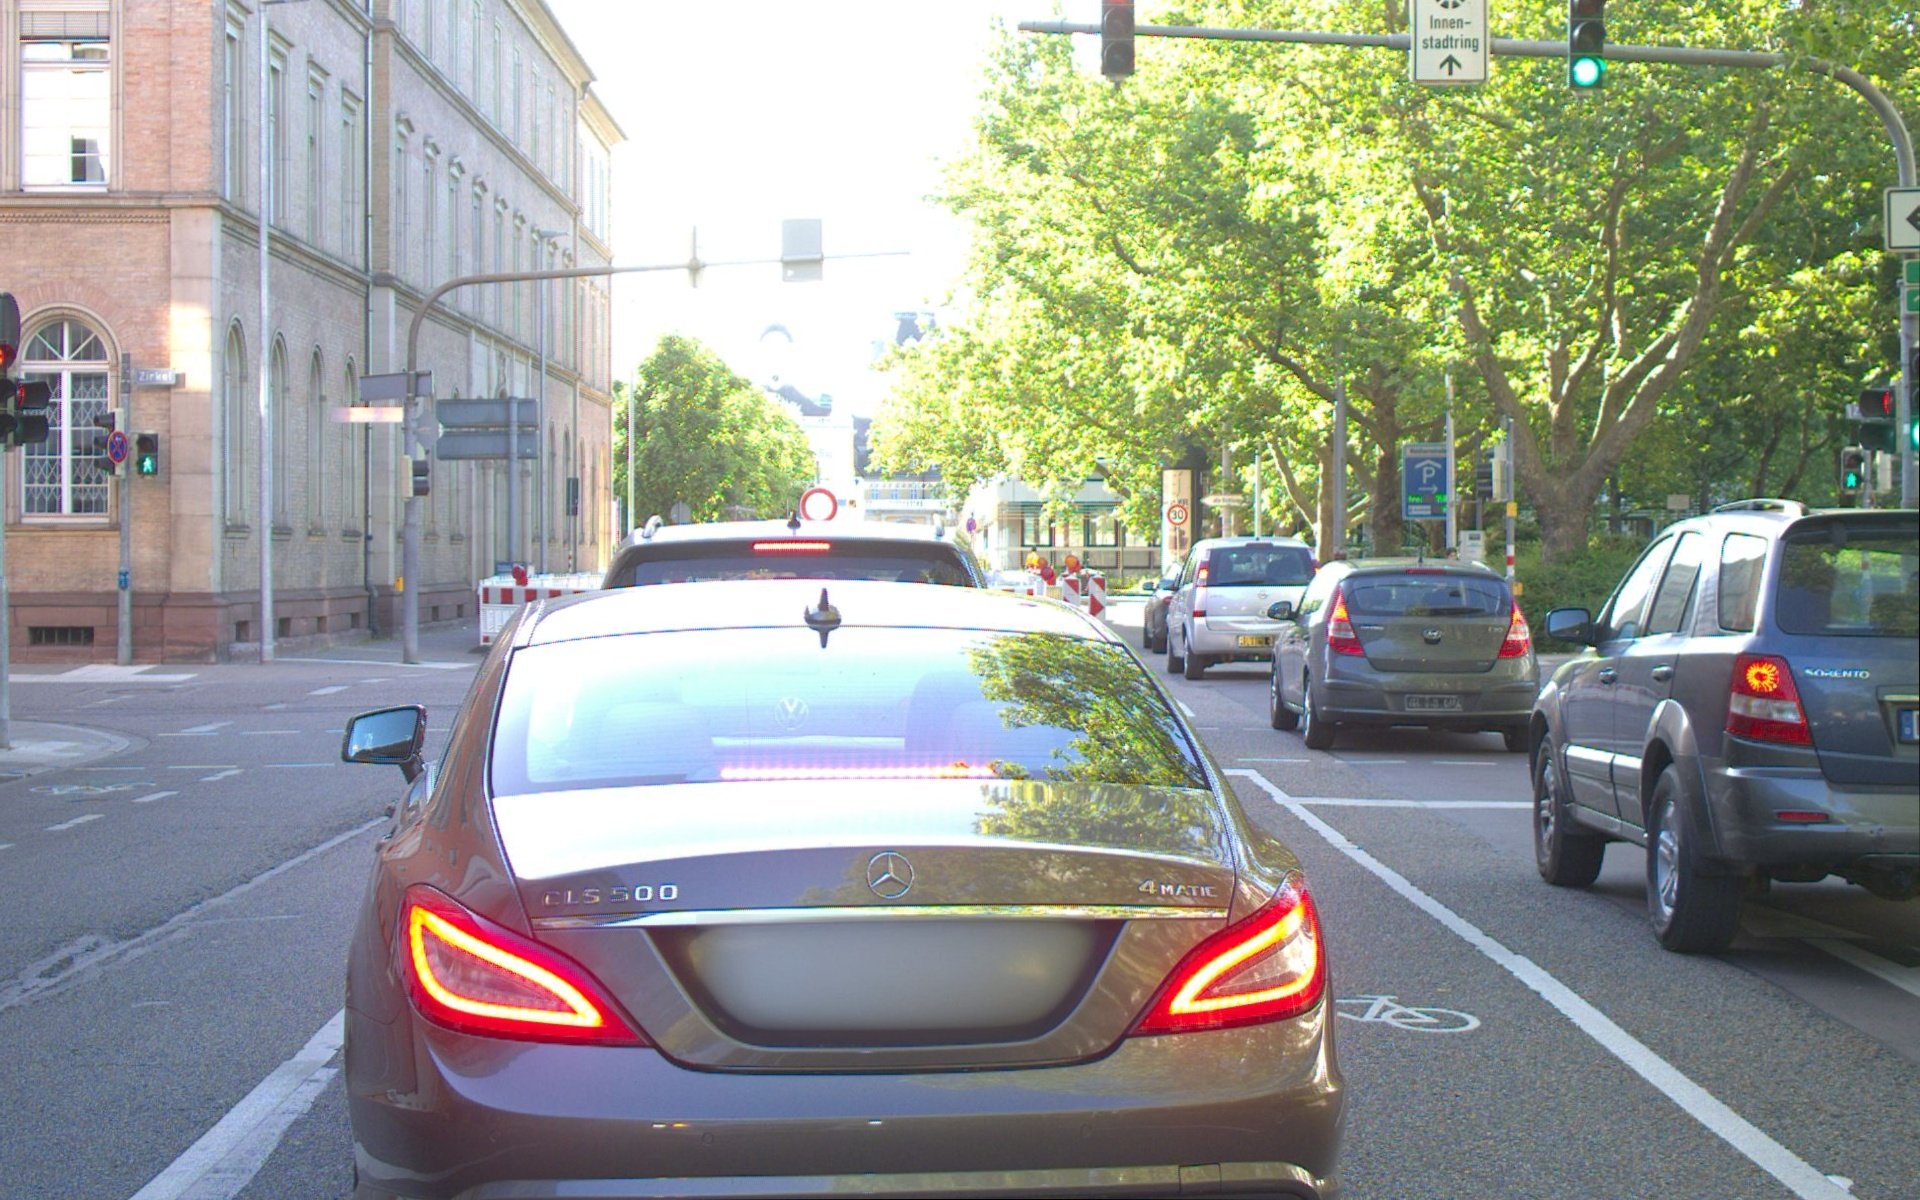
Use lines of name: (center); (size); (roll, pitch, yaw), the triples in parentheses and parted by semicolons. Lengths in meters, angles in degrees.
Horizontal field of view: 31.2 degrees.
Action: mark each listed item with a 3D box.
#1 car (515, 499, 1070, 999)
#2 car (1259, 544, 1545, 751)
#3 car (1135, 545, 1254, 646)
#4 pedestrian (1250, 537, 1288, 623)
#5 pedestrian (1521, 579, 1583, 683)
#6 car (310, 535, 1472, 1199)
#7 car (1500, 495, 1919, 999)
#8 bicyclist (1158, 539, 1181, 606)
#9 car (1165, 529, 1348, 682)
car: (-0.588, 0.470, 13.611); (1.861, 1.677, 4.000); (1, 1, -1)
car: (3.447, 0.320, 27.454); (1.704, 1.514, 4.000); (1, 1, -1)
car: (3.729, -0.084, 55.098); (1.601, 1.543, 3.681); (1, 1, -1)
pedestrian: (6.368, -0.407, 70.861); (0.635, 1.754, 0.699); (1, 0, -4)
pedestrian: (8.828, 0.457, 51.315); (0.635, 1.540, 0.910); (1, 0, -9)
car: (-0.367, 0.625, 7.481); (1.861, 1.514, 4.001); (0, 1, -8)
car: (3.556, 0.483, 14.277); (1.861, 1.758, 4.482); (1, 1, -1)
bicyclist: (6.394, -0.851, 104.929); (0.594, 2.032, 0.566); (1, 0, -4)
car: (3.369, 0.041, 39.672); (1.731, 1.656, 3.681); (1, 1, -1)
